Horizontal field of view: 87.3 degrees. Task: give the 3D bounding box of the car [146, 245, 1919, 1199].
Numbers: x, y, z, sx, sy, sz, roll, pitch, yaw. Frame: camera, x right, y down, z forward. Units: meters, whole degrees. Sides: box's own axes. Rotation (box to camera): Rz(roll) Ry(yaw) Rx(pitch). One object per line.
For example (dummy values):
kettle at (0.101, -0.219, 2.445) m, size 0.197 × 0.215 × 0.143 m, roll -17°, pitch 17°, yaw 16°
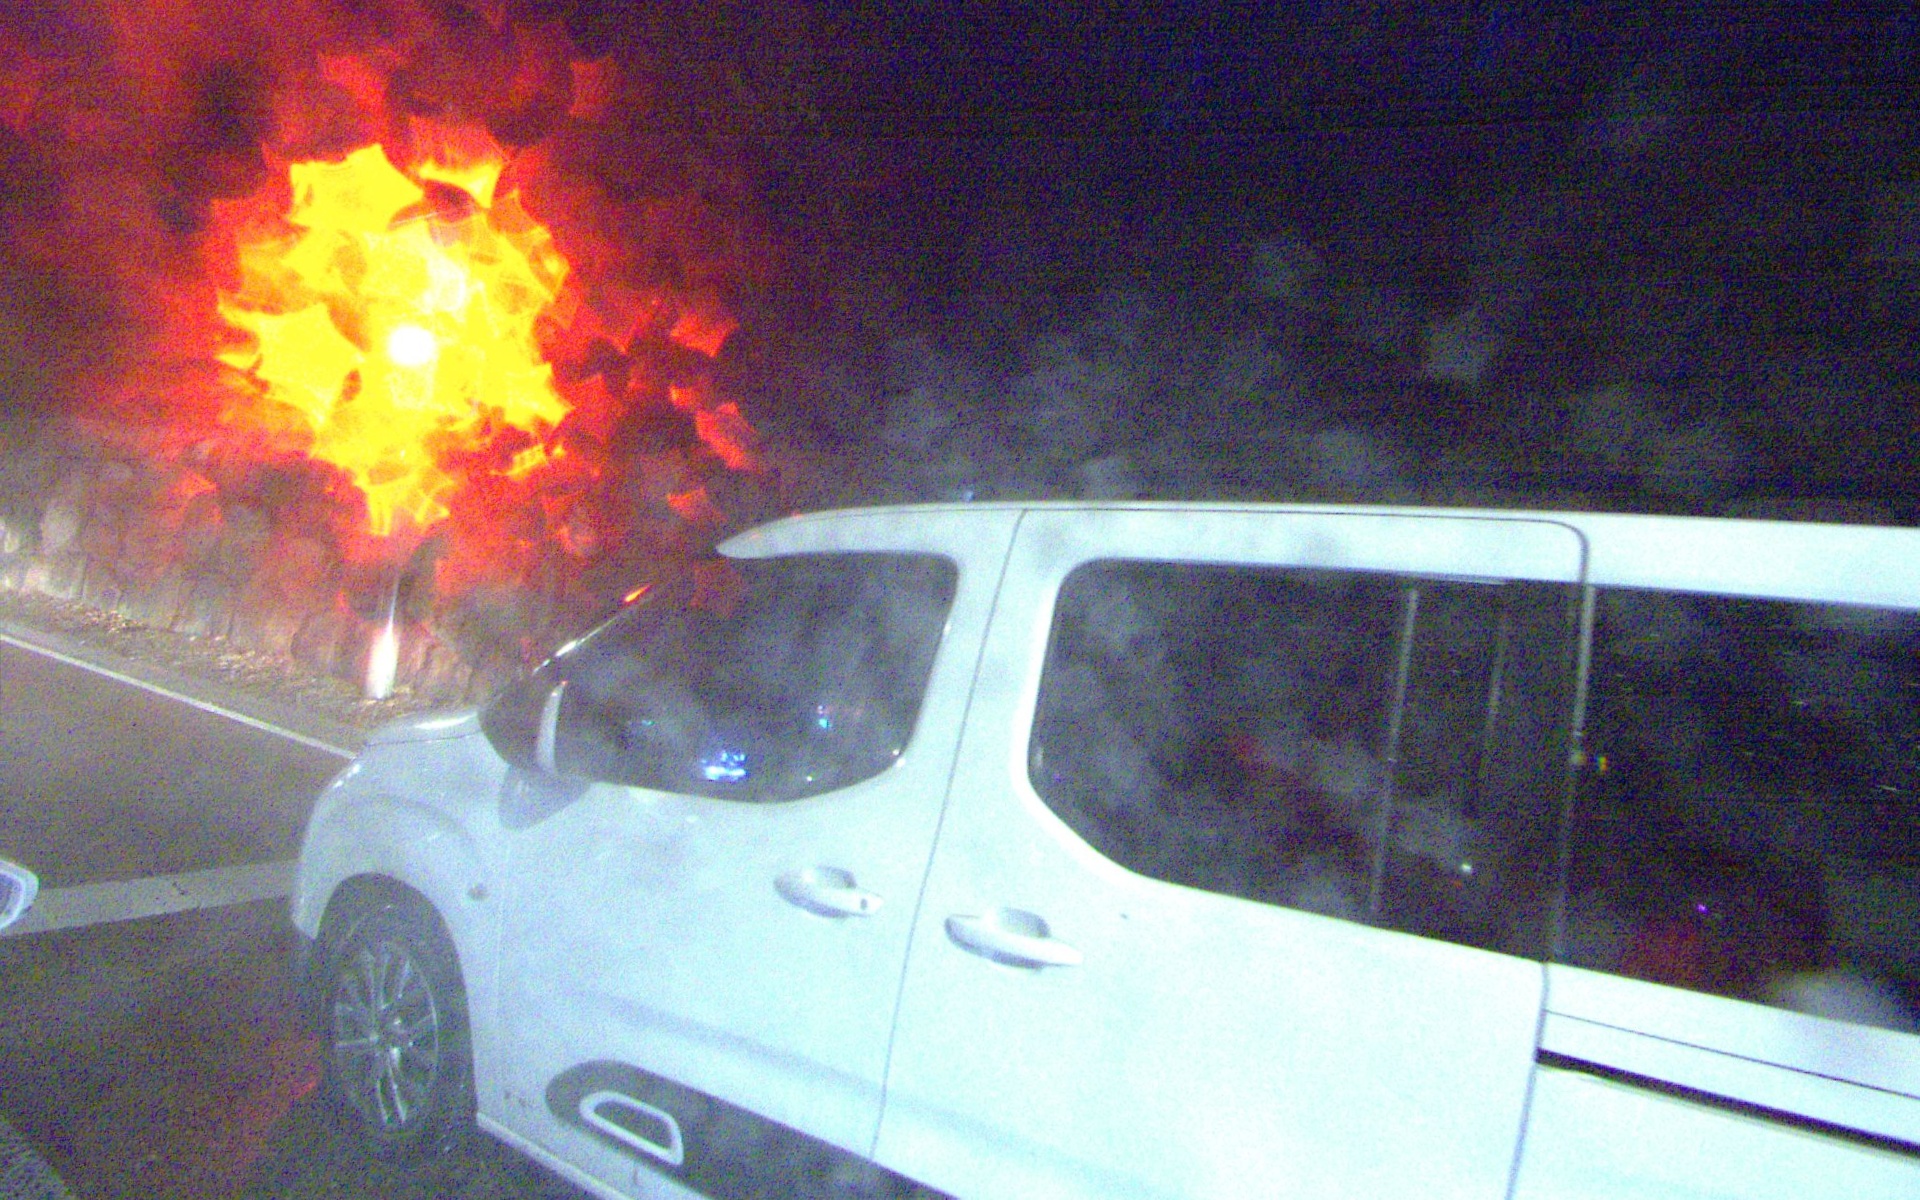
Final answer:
car at (0.251, 0.603, 2.448) m, size 4.501 × 2.046 × 1.795 m, roll 7°, pitch -1°, yaw 30°
